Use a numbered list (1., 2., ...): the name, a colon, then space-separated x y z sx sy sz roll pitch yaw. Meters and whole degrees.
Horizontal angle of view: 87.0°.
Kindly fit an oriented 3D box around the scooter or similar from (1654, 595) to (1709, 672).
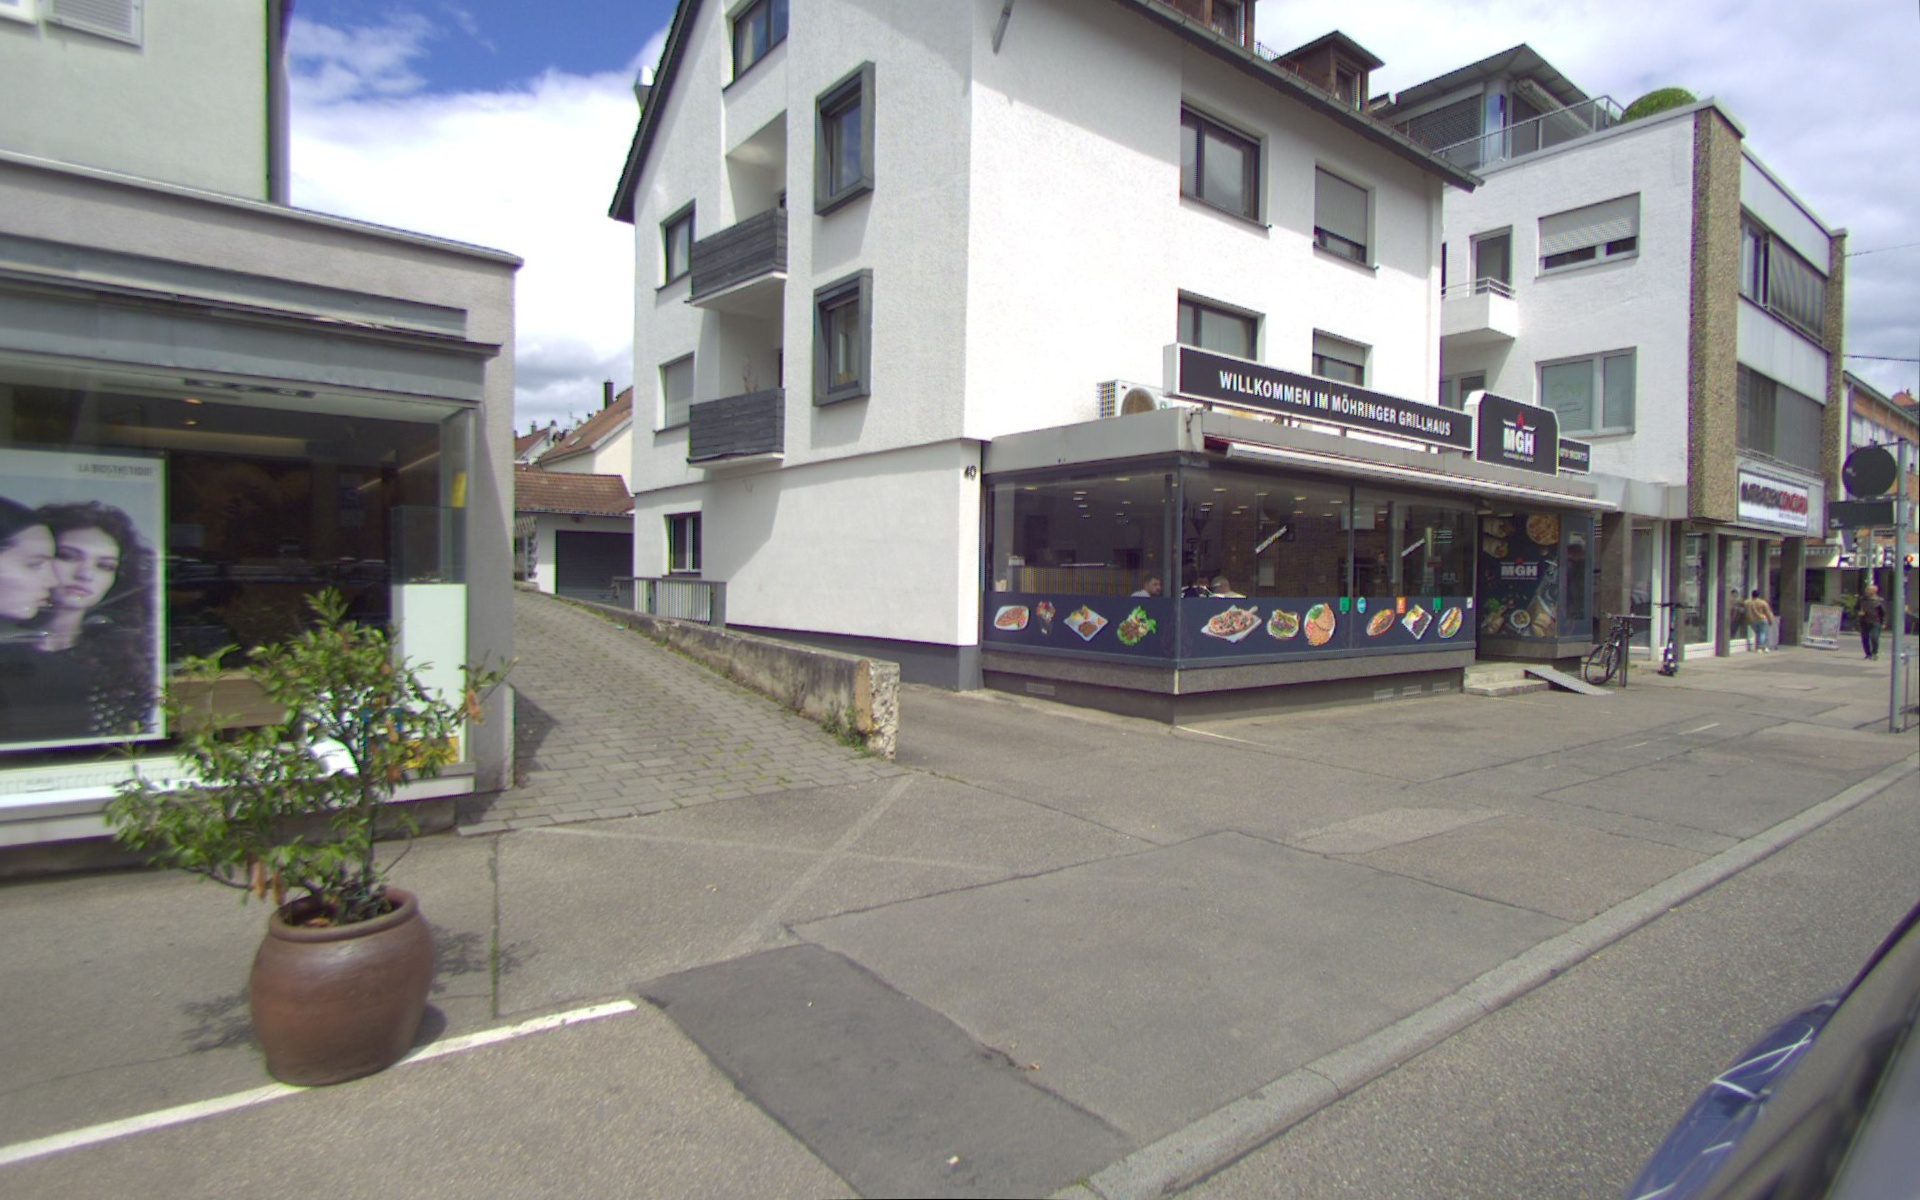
1. scooter or similar: 12.883 0.568 18.062 0.686 1.283 1.169 2 2 39

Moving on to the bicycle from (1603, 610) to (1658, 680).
1. bicycle: 10.842 0.697 16.340 0.475 1.040 1.611 2 2 42

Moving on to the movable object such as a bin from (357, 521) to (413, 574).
1. movable object such as a bin: -12.565 -1.131 22.094 0.848 1.093 1.280 0 1 -39

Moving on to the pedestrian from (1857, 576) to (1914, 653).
1. pedestrian: 21.170 0.313 23.152 0.792 1.691 0.797 0 2 -39

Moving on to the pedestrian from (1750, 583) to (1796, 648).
1. pedestrian: 19.494 0.354 24.261 0.707 1.517 0.681 0 1 -38
